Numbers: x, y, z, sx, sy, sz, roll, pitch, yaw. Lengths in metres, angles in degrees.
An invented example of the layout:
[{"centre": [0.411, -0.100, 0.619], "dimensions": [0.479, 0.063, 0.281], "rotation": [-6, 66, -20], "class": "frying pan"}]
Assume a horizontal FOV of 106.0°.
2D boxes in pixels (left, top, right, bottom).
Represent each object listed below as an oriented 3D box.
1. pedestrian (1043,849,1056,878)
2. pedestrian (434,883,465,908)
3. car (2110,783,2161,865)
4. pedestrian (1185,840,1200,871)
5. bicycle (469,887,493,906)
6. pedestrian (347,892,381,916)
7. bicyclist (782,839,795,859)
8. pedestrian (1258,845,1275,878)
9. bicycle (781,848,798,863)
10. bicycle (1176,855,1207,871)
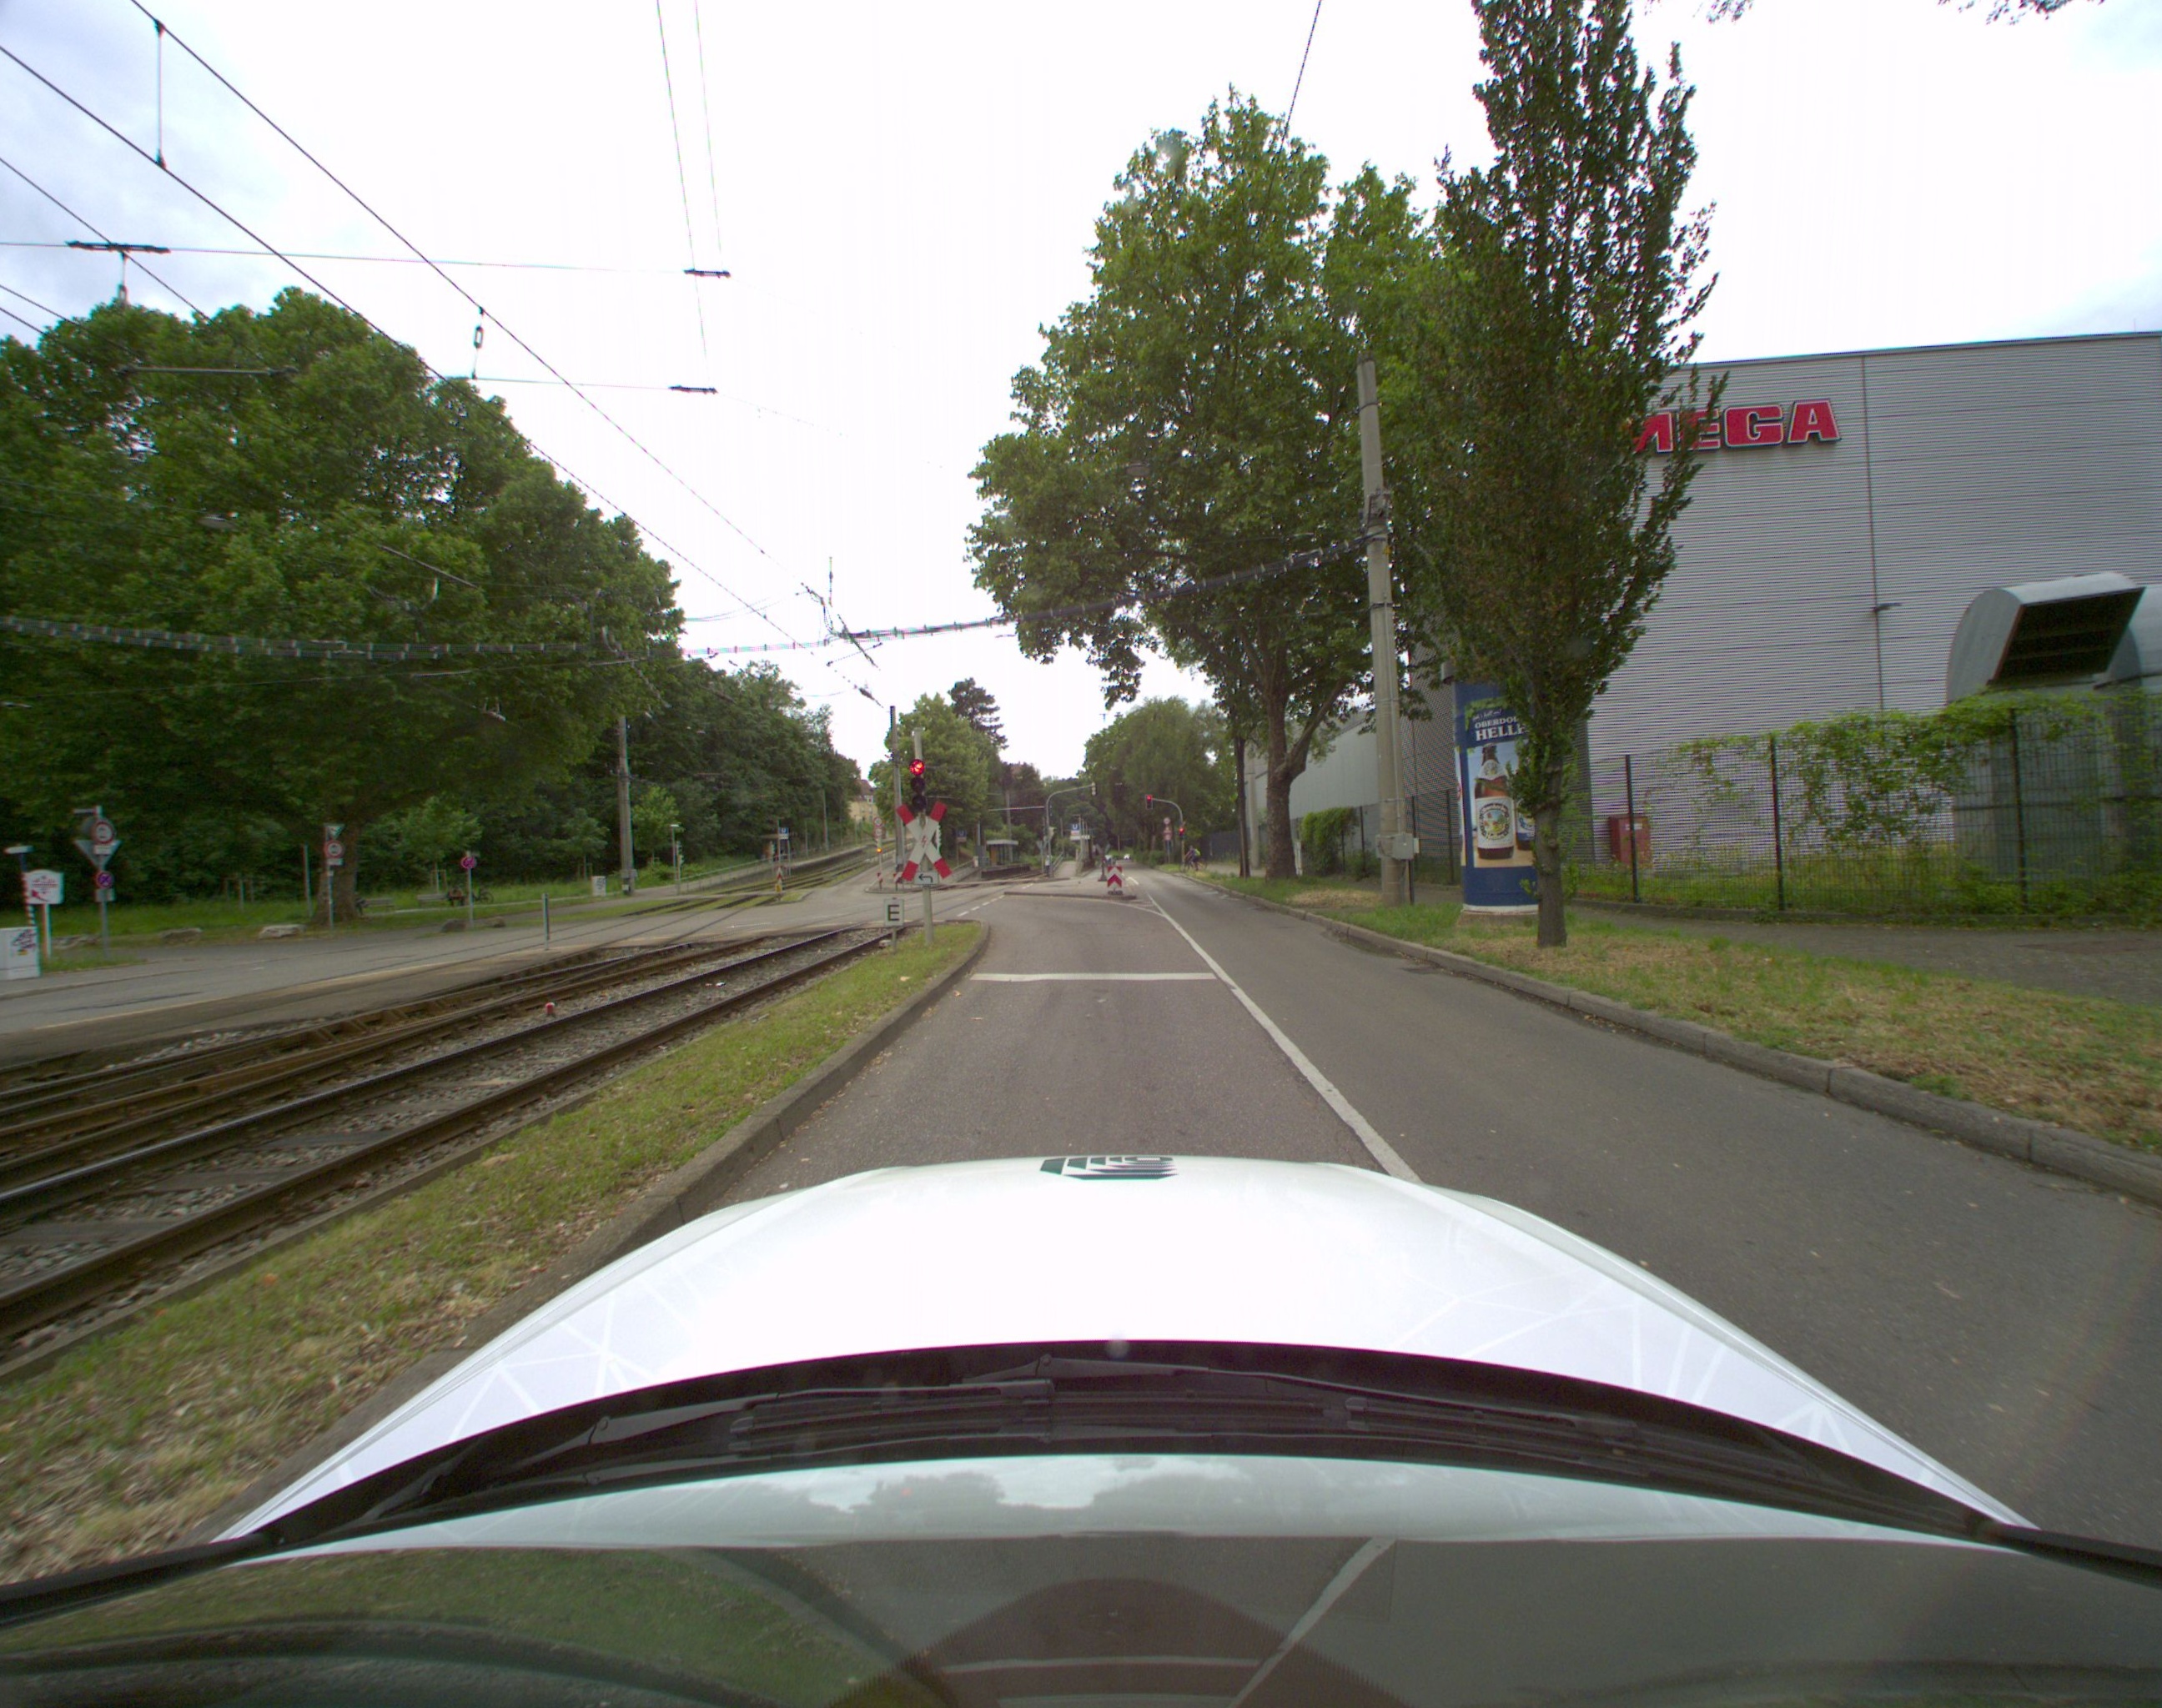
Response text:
[{"centre": [-2.036, 0.597, 52.460], "dimensions": [0.766, 1.852, 0.909], "rotation": [-3, 0, -2], "class": "pedestrian"}, {"centre": [-33.367, 2.173, 43.046], "dimensions": [1.102, 1.268, 1.063], "rotation": [-2, -2, 39], "class": "pedestrian"}, {"centre": [22.747, -0.638, 15.654], "dimensions": [1.974, 1.675, 4.666], "rotation": [-3, 0, 29], "class": "car"}, {"centre": [7.677, 0.100, 55.993], "dimensions": [0.926, 2.013, 0.669], "rotation": [-3, 0, 7], "class": "pedestrian"}, {"centre": [-32.445, 2.291, 44.032], "dimensions": [1.631, 1.012, 0.680], "rotation": [-2, -2, 39], "class": "bicycle"}, {"centre": [-34.787, 2.434, 39.522], "dimensions": [0.894, 1.095, 1.088], "rotation": [-2, -1, 37], "class": "pedestrian"}, {"centre": [-28.804, -0.498, 80.178], "dimensions": [0.820, 1.848, 1.049], "rotation": [-3, 2, -6], "class": "bicyclist"}, {"centre": [9.043, 0.365, 39.802], "dimensions": [0.662, 1.553, 0.936], "rotation": [-3, 0, 7], "class": "pedestrian"}, {"centre": [-28.792, 0.111, 80.364], "dimensions": [0.823, 1.343, 2.990], "rotation": [-3, 3, -6], "class": "bicycle"}, {"centre": [7.581, 0.625, 55.968], "dimensions": [2.063, 1.007, 0.669], "rotation": [-3, 0, 7], "class": "bicycle"}]
